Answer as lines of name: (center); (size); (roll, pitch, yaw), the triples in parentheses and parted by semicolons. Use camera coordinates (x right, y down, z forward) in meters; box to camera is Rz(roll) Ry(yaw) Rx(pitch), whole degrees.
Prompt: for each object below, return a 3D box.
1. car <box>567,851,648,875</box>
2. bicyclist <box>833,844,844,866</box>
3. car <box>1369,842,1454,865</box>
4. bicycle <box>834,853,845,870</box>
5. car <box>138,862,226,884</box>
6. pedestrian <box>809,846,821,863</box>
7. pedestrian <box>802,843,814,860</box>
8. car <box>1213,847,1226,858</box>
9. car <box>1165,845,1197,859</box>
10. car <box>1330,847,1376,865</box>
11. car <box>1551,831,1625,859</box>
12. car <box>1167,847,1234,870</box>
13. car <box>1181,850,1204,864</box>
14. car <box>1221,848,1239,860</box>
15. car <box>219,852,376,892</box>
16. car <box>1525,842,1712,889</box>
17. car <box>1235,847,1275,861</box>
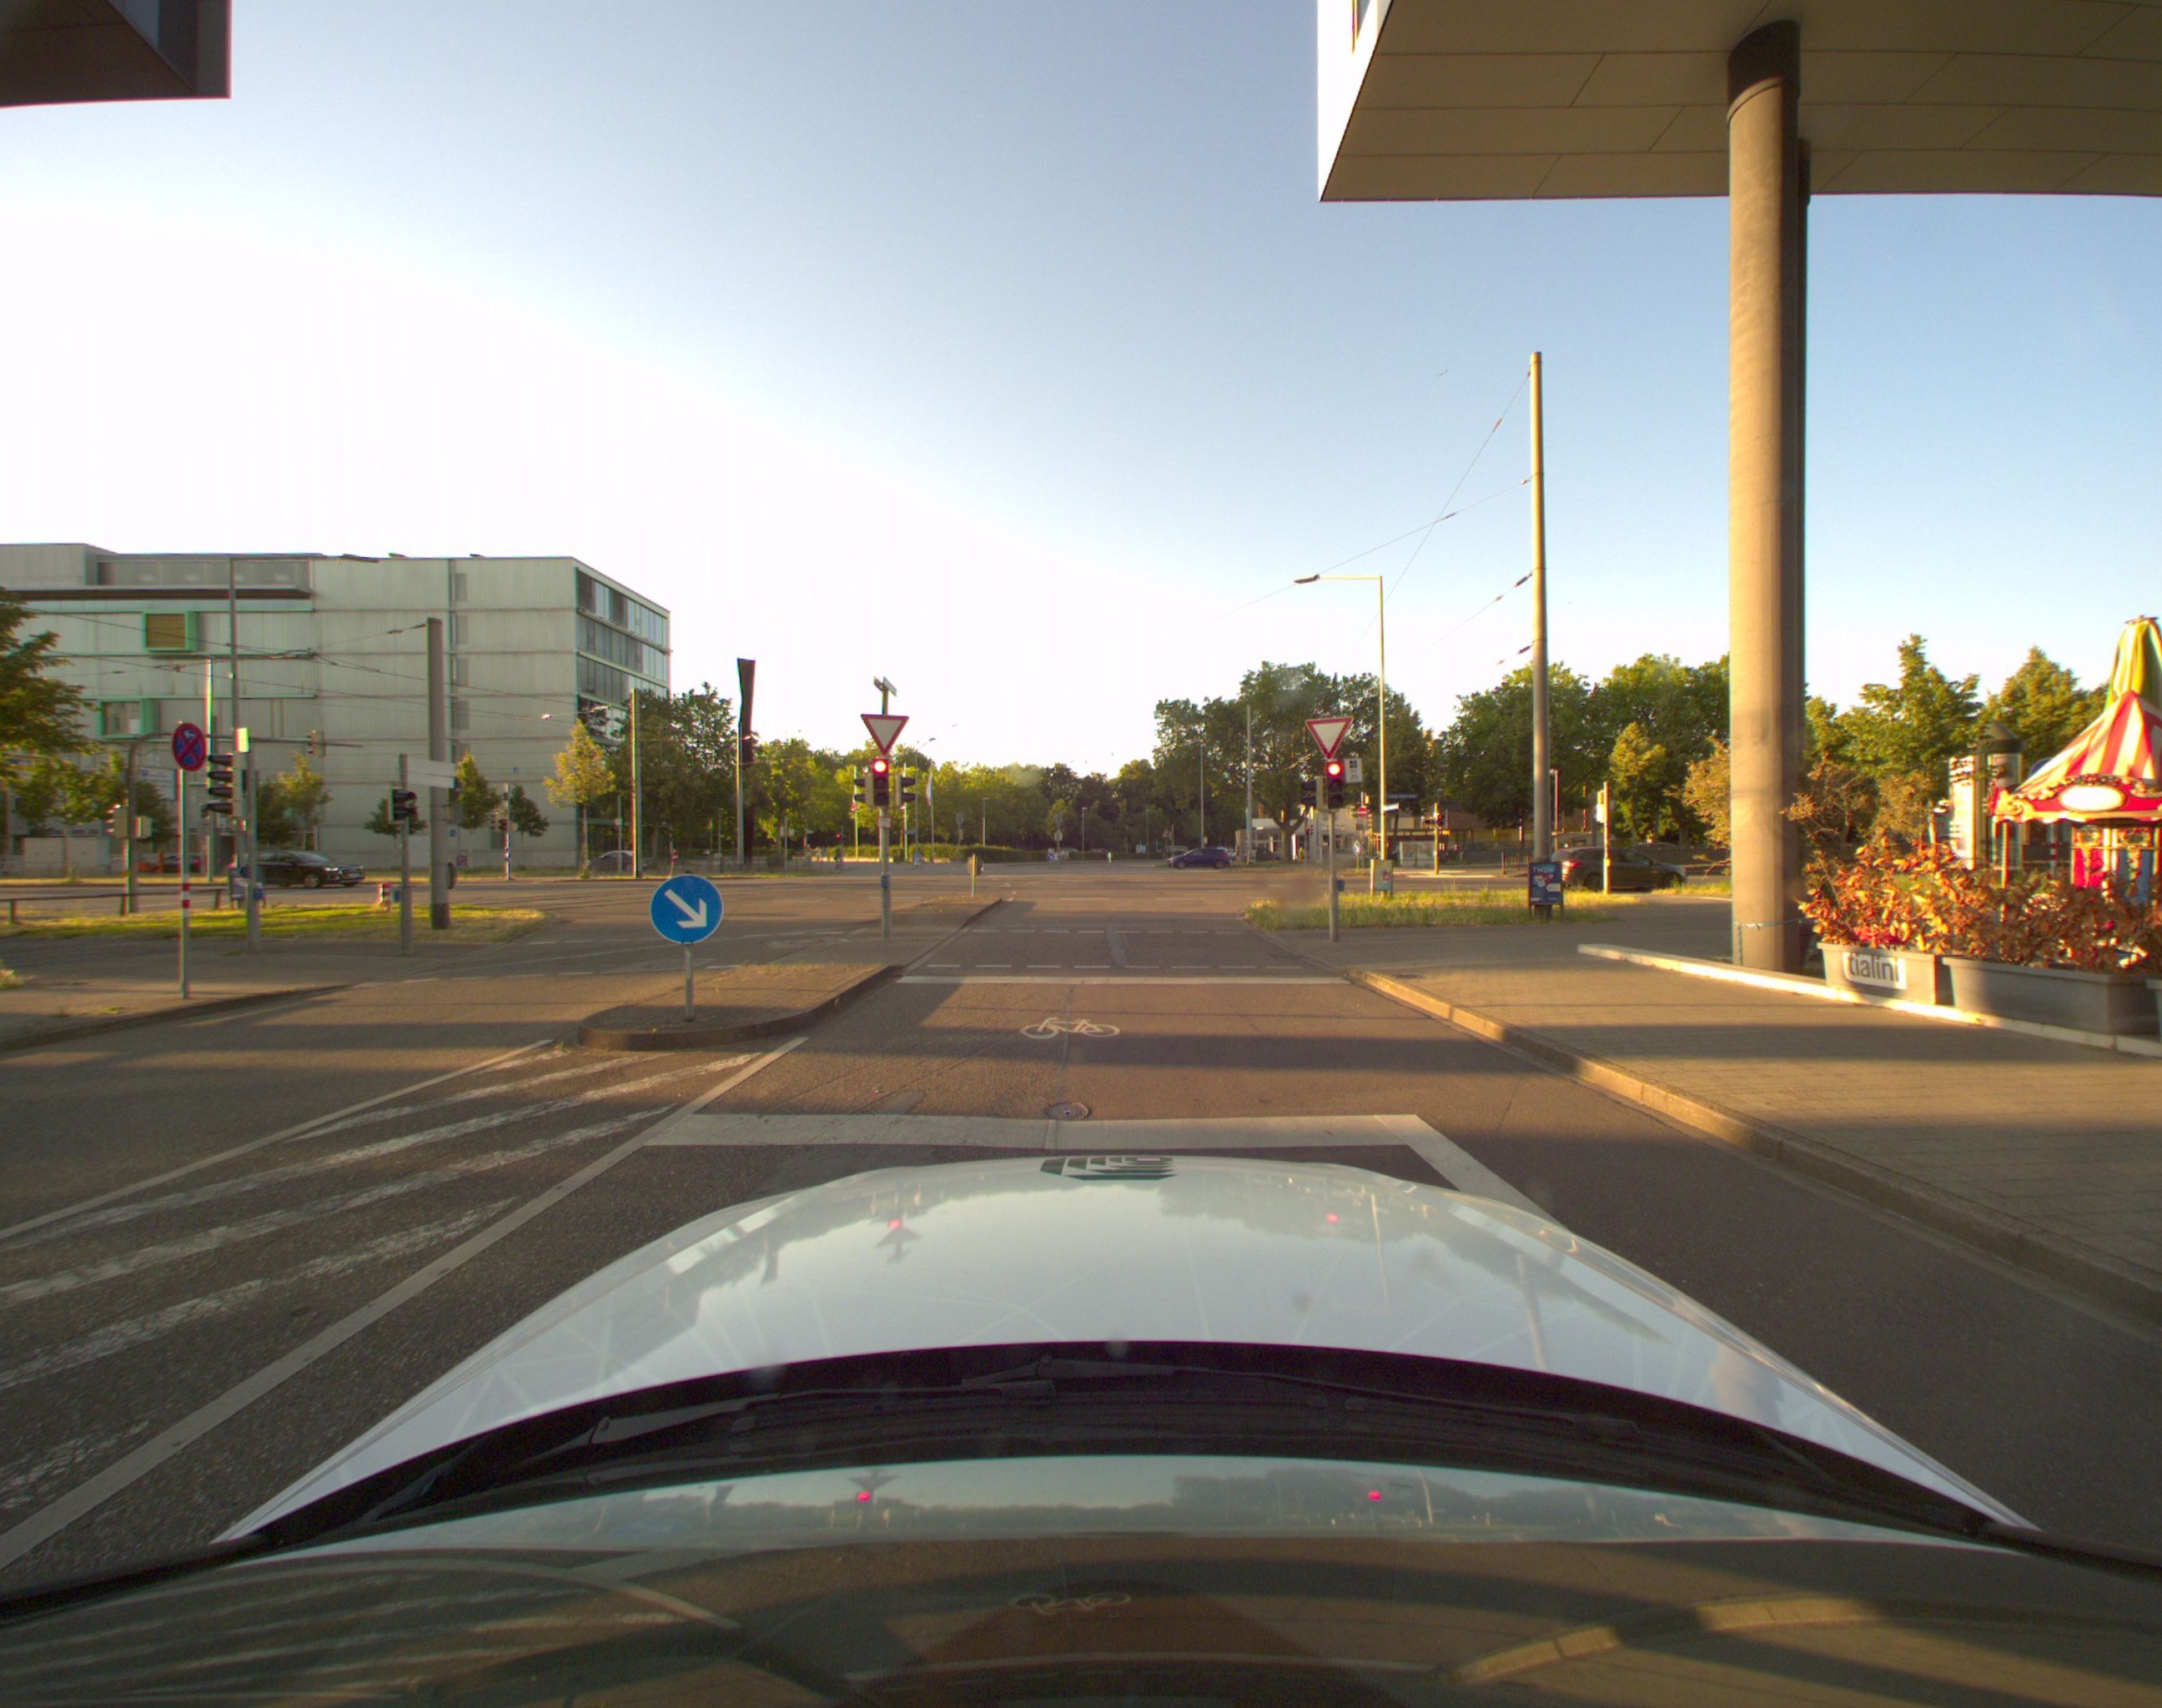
car: (-31.314, 0.609, 53.946); (4.312, 1.496, 1.806); (-1, -1, 4)
bicyclist: (-19.135, 0.101, 64.340); (0.753, 1.709, 0.914); (-1, 0, -20)
car: (22.970, -0.027, 56.708); (5.082, 1.552, 2.000); (-1, -1, 1)
bicycle: (-19.021, 0.584, 64.078); (0.732, 1.341, 2.673); (-1, 0, -19)
car: (-63.150, 1.338, 57.255); (4.313, 1.496, 1.806); (-1, -1, 3)
pedestrian: (-27.734, 0.083, 84.845); (0.852, 1.744, 0.835); (-1, 0, 30)
pedestrian: (-28.141, -0.245, 83.856); (0.852, 1.744, 0.835); (-1, 0, 36)
car: (22.275, -0.251, 130.883); (1.850, 1.794, 4.013); (-1, -1, 12)
car: (15.421, -0.333, 125.733); (4.753, 2.006, 2.002); (-1, -1, 3)
car: (23.944, 0.184, 71.770); (3.715, 1.440, 1.669); (-1, -1, 11)
car: (47.886, -0.826, 77.067); (5.561, 2.551, 2.235); (-1, 0, 9)
car: (8.271, 0.323, 56.868); (4.454, 1.552, 2.001); (-1, -1, 3)
car: (13.108, 0.376, 95.563); (1.978, 1.662, 4.018); (-1, -1, 17)
car: (21.092, -0.002, 115.303); (1.978, 1.662, 4.018); (-1, -1, 17)
car: (-32.506, 0.734, 33.901); (4.467, 1.557, 1.986); (-1, 0, -4)
car: (18.110, 0.371, 27.643); (4.986, 1.511, 1.990); (-1, 0, 3)
car: (18.927, 0.012, 88.904); (4.194, 1.552, 2.005); (-1, -1, 9)
